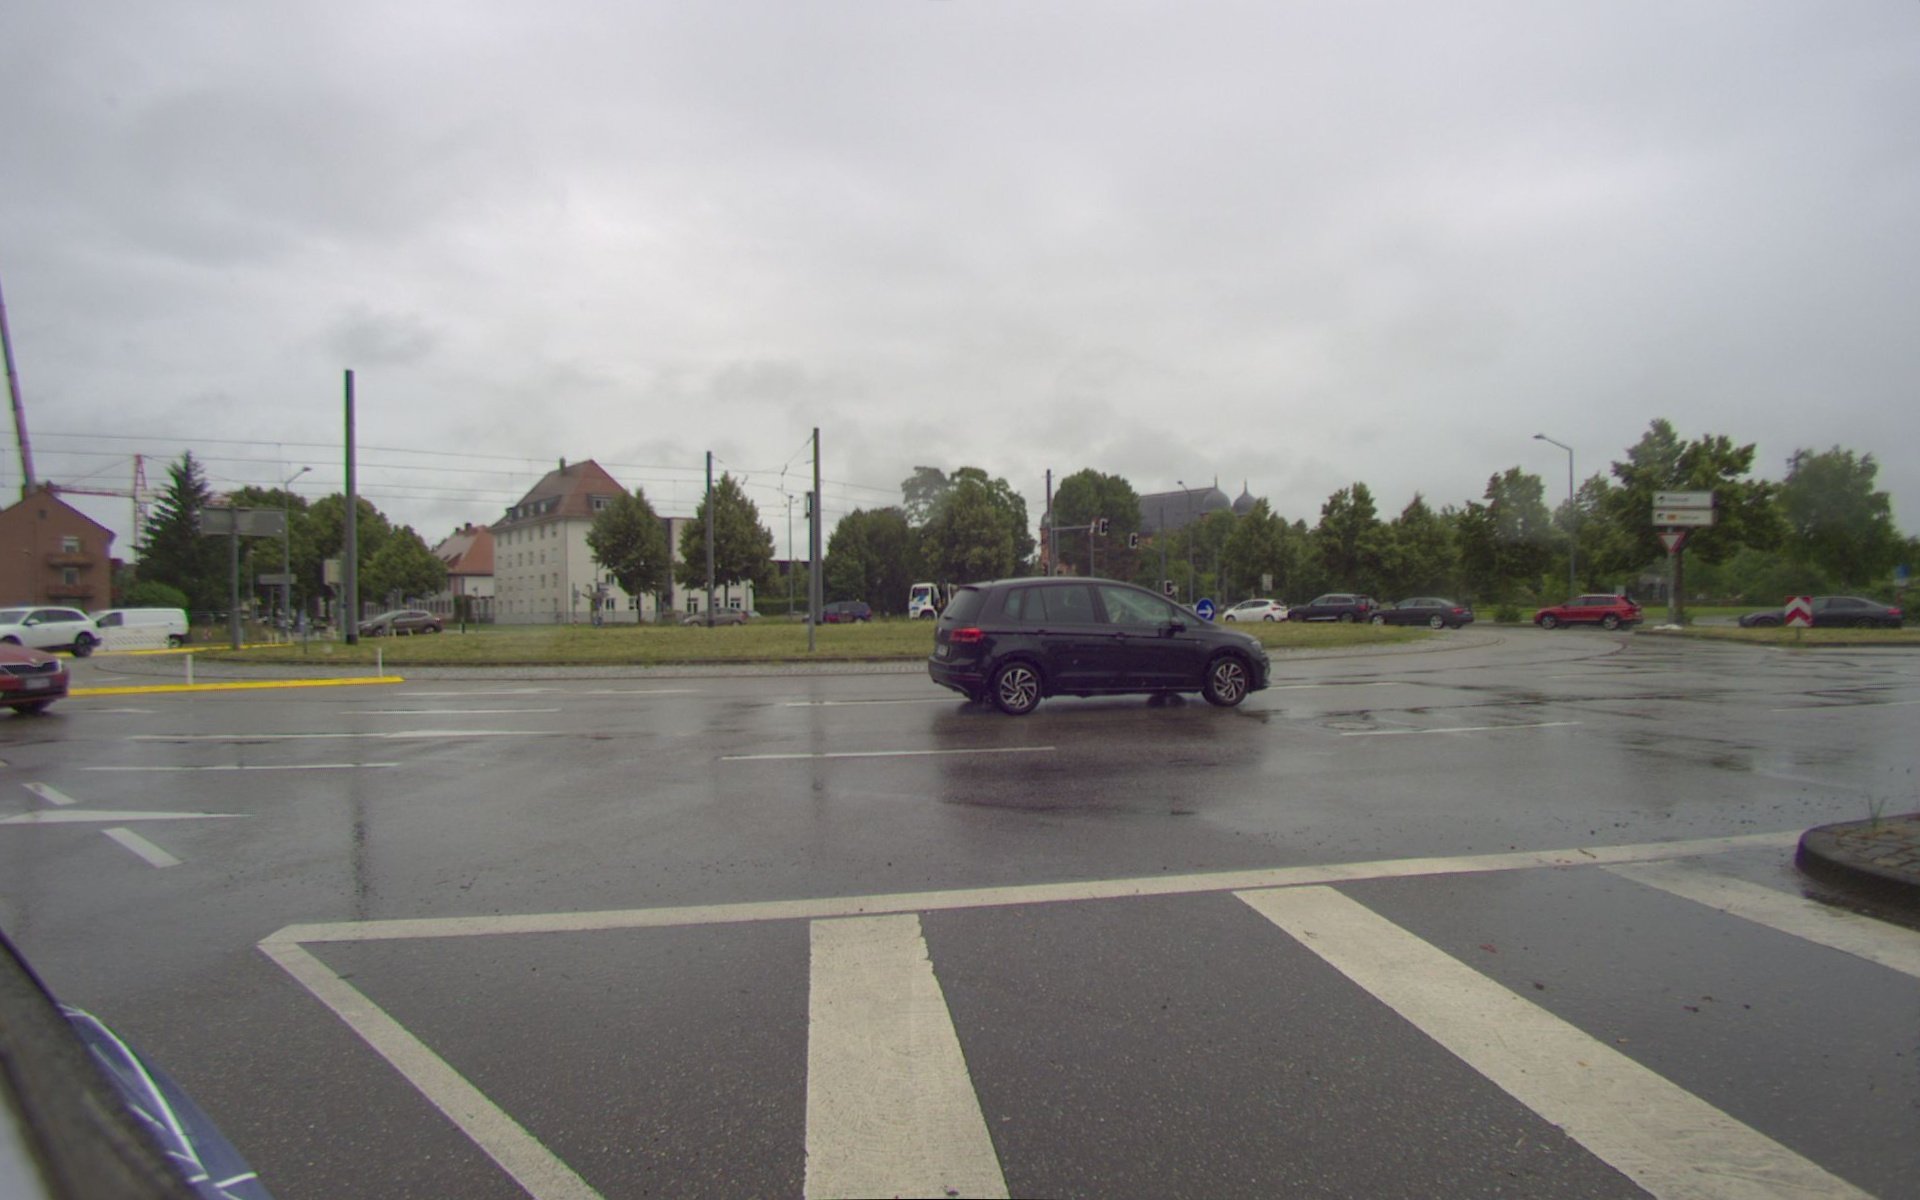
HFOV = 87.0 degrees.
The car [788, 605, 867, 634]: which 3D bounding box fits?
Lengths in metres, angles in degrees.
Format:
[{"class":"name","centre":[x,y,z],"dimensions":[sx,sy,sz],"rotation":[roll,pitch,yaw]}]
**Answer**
[{"class":"car","centre":[-8.283,1.196,63.627],"dimensions":[4.793,1.757,1.779],"rotation":[0,2,-3]}]

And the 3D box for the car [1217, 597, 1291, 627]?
[{"class":"car","centre":[18.240,0.697,62.961],"dimensions":[1.759,1.660,4.407],"rotation":[-1,2,-32]}]

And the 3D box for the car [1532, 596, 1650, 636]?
[{"class":"car","centre":[29.746,0.706,47.822],"dimensions":[1.761,1.660,4.401],"rotation":[-1,2,-40]}]

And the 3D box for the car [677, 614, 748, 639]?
[{"class":"car","centre":[-16.342,1.716,66.760],"dimensions":[4.471,1.503,1.616],"rotation":[0,2,-16]}]

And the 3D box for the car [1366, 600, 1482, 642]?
[{"class":"car","centre":[20.912,0.888,45.728],"dimensions":[1.762,1.660,4.399],"rotation":[-1,2,-42]}]

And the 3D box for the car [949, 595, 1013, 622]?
[{"class":"car","centre":[1.368,0.531,64.273],"dimensions":[3.950,1.660,1.786],"rotation":[0,2,6]}]

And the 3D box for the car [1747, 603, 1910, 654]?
[{"class":"car","centre":[32.049,1.011,37.531],"dimensions":[4.384,1.660,1.768],"rotation":[1,2,35]}]

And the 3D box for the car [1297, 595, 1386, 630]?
[{"class":"car","centre":[20.178,0.639,53.646],"dimensions":[1.759,1.660,4.158],"rotation":[-1,2,-35]}]

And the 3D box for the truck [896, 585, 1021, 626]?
[{"class":"truck","centre":[-0.103,0.371,71.946],"dimensions":[8.704,2.731,1.993],"rotation":[0,2,12]}]

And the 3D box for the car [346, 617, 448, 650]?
[{"class":"car","centre":[-29.998,1.746,54.056],"dimensions":[1.609,1.503,4.493],"rotation":[1,2,36]}]

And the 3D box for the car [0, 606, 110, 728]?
[{"class":"car","centre":[-14.058,0.883,13.332],"dimensions":[4.256,1.470,1.788],"rotation":[-1,2,2]}]

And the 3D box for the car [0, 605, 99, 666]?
[{"class":"car","centre":[-30.401,1.108,32.421],"dimensions":[1.751,1.757,4.871],"rotation":[0,2,-4]}]

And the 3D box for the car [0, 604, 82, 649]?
[{"class":"car","centre":[-65.568,1.816,70.448],"dimensions":[6.323,2.961,2.362],"rotation":[0,2,-11]}]

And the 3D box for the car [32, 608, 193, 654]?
[{"class":"car","centre":[-36.087,1.273,43.256],"dimensions":[1.825,1.655,4.973],"rotation":[1,2,31]}]

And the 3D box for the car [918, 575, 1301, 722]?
[{"class":"car","centre":[1.756,0.511,12.445],"dimensions":[4.260,1.529,1.794],"rotation":[-1,1,-12]}]
